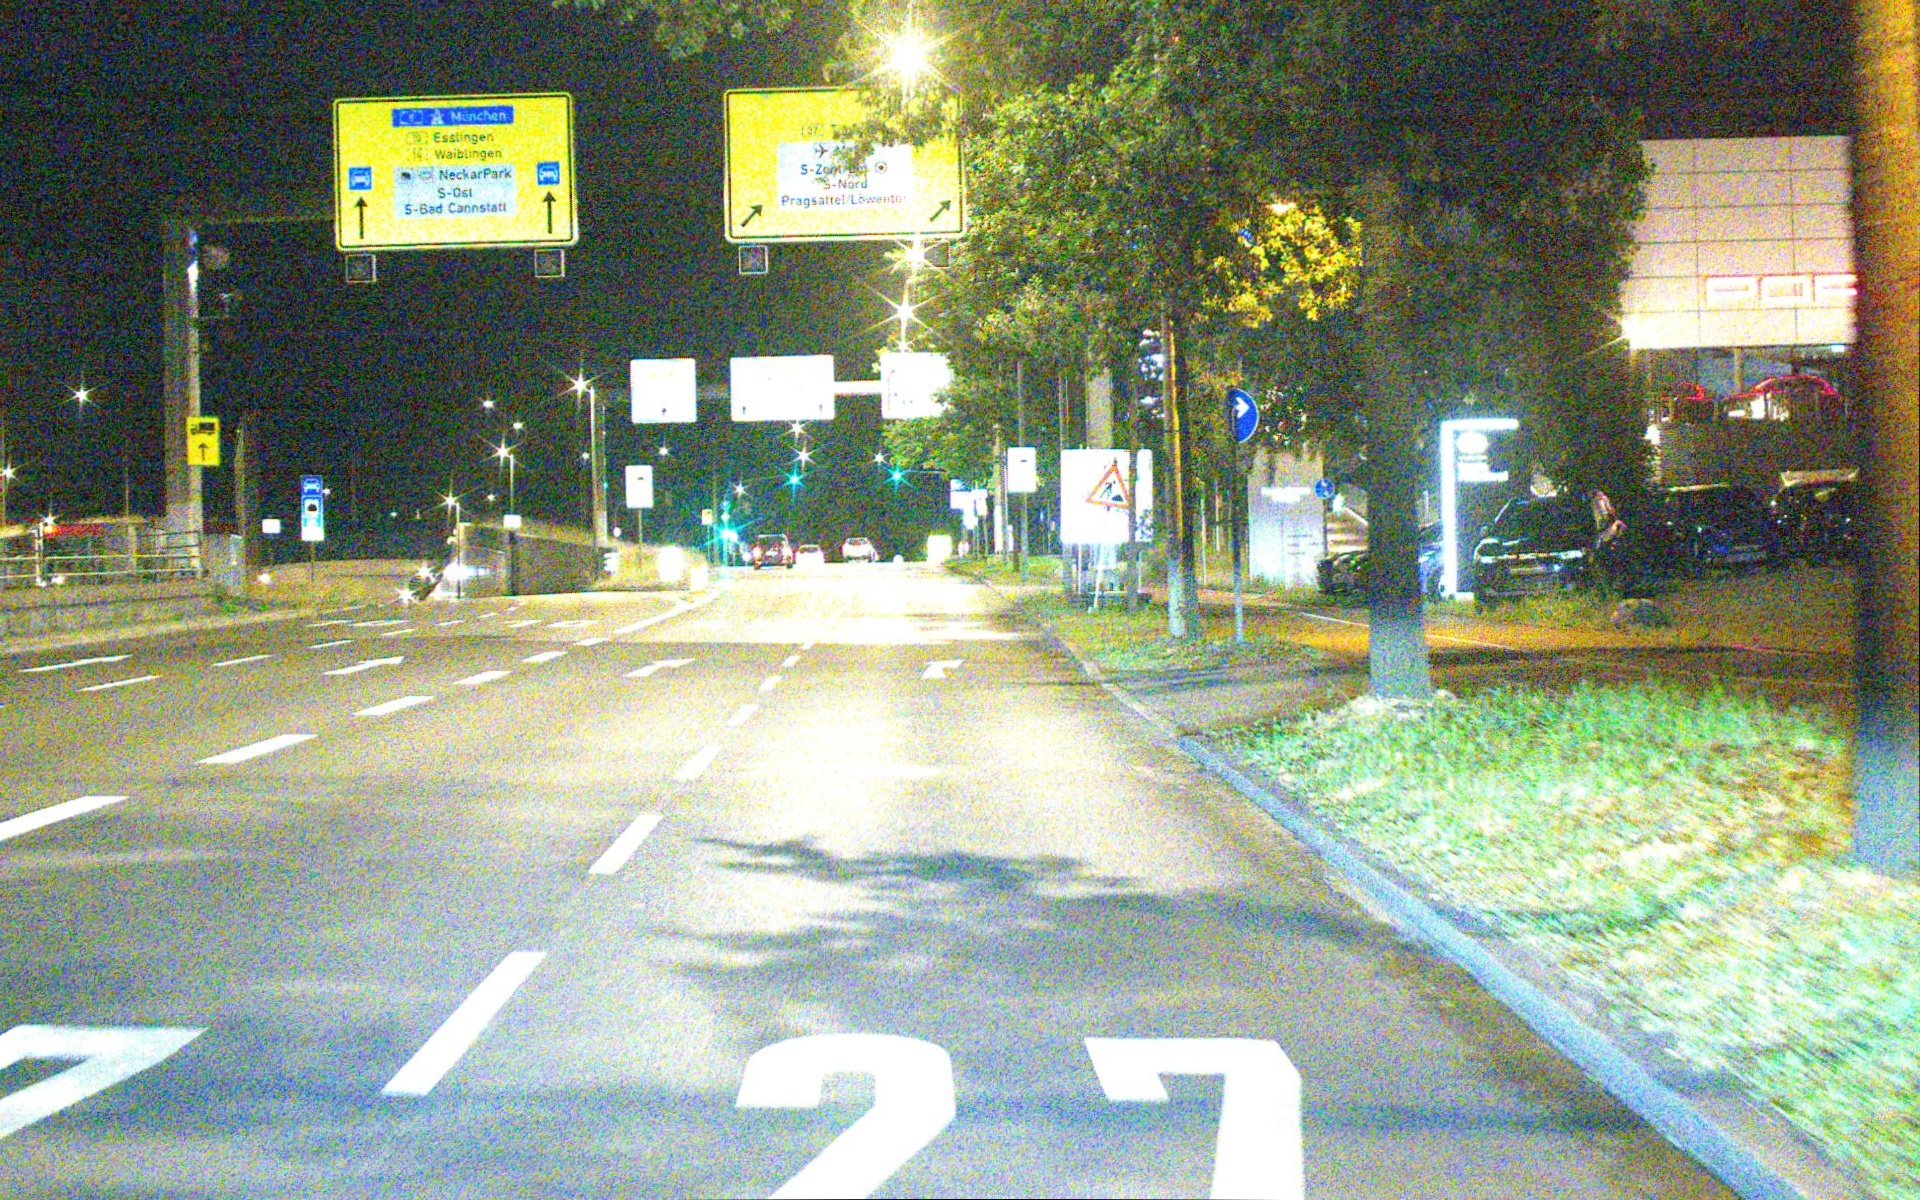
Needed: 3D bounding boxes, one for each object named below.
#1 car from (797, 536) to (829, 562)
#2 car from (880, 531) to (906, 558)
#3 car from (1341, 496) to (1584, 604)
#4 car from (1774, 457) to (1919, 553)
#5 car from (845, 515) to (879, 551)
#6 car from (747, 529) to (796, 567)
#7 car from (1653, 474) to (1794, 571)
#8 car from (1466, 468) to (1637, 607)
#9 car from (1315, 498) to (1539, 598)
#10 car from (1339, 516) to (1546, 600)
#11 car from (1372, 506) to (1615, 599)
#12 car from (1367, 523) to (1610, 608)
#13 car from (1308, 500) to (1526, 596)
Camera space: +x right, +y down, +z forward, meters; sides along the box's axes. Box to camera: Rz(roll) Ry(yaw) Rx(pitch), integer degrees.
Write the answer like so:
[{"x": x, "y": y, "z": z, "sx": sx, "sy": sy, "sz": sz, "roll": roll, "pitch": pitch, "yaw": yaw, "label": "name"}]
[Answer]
[{"x": -9.687, "y": -3.337, "z": 226.669, "sx": 1.993, "sy": 1.590, "sz": 4.000, "roll": -1, "pitch": 0, "yaw": 0, "label": "car"}, {"x": -4.769, "y": -3.951, "z": 245.739, "sx": 1.838, "sy": 1.831, "sz": 4.000, "roll": 0, "pitch": 0, "yaw": -1, "label": "car"}, {"x": 8.936, "y": -0.879, "z": 61.345, "sx": 3.986, "sy": 1.850, "sz": 1.822, "roll": 1, "pitch": 0, "yaw": -4, "label": "car"}, {"x": 15.082, "y": -1.590, "z": 58.616, "sx": 1.893, "sy": 1.506, "sz": 3.635, "roll": 0, "pitch": 0, "yaw": 6, "label": "car"}, {"x": -5.830, "y": -3.969, "z": 204.780, "sx": 1.993, "sy": 2.007, "sz": 4.000, "roll": 0, "pitch": 0, "yaw": -1, "label": "car"}, {"x": -8.881, "y": -2.440, "z": 162.337, "sx": 1.968, "sy": 1.705, "sz": 4.000, "roll": 0, "pitch": 0, "yaw": 2, "label": "car"}, {"x": 12.685, "y": -1.261, "z": 57.286, "sx": 1.893, "sy": 1.506, "sz": 3.635, "roll": 0, "pitch": 0, "yaw": 6, "label": "car"}, {"x": 8.726, "y": -0.878, "z": 50.485, "sx": 1.995, "sy": 1.938, "sz": 3.997, "roll": 0, "pitch": 0, "yaw": 17, "label": "car"}, {"x": 8.959, "y": -0.984, "z": 66.137, "sx": 3.986, "sy": 1.850, "sz": 1.822, "roll": 1, "pitch": 0, "yaw": -4, "label": "car"}, {"x": 8.943, "y": -0.767, "z": 63.840, "sx": 3.510, "sy": 1.503, "sz": 1.736, "roll": 1, "pitch": 0, "yaw": -4, "label": "car"}, {"x": 8.671, "y": -0.761, "z": 56.043, "sx": 3.624, "sy": 1.446, "sz": 1.708, "roll": 1, "pitch": 0, "yaw": -4, "label": "car"}, {"x": 9.018, "y": -0.580, "z": 58.805, "sx": 3.824, "sy": 1.406, "sz": 1.711, "roll": 1, "pitch": 0, "yaw": -3, "label": "car"}, {"x": 9.063, "y": -1.018, "z": 68.361, "sx": 3.986, "sy": 1.850, "sz": 1.822, "roll": 1, "pitch": 0, "yaw": -4, "label": "car"}]
